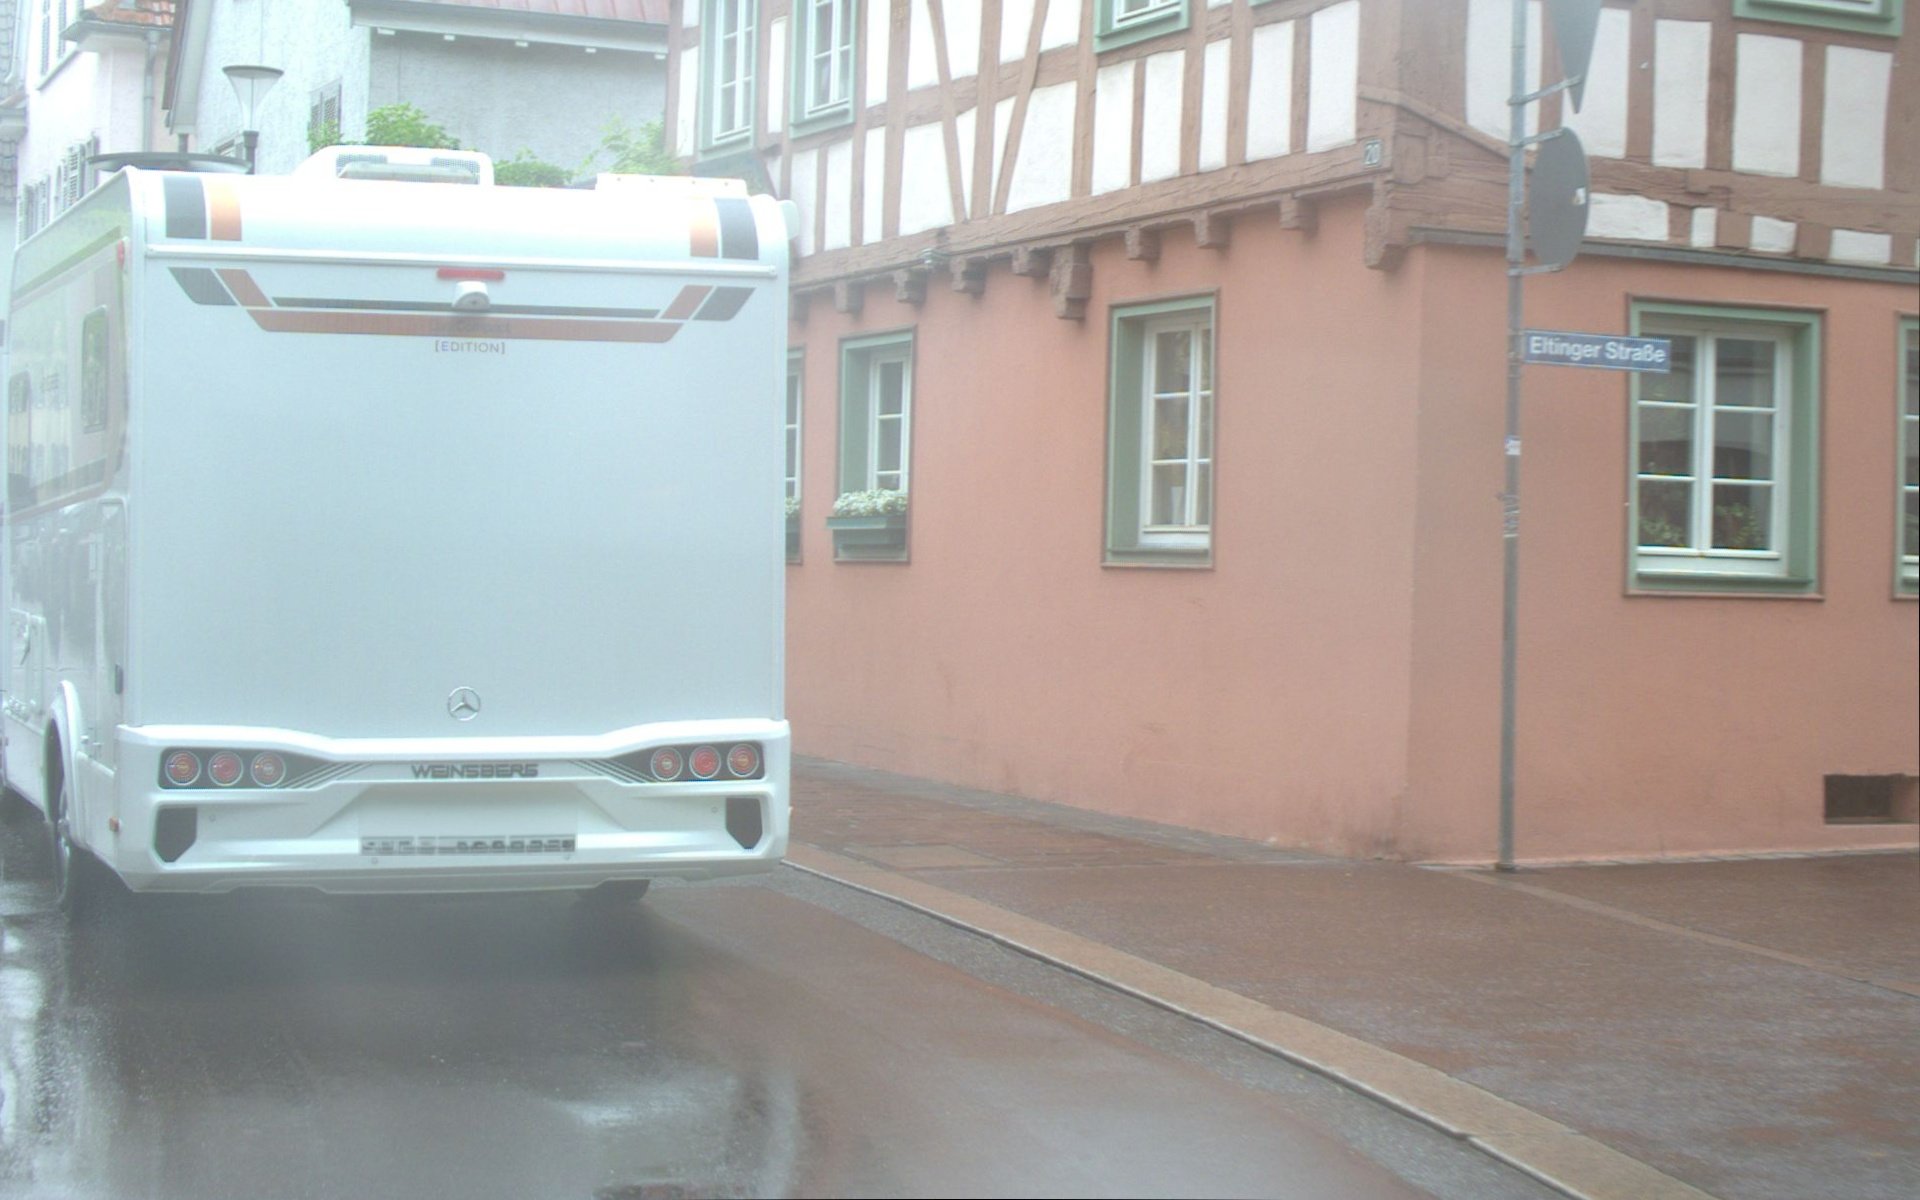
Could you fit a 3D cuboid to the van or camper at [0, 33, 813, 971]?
[{"bbox_3d":[-2.687,-0.313,14.056,2.325,2.909,6.395,1,0,-20],"label":"van or camper"}]
